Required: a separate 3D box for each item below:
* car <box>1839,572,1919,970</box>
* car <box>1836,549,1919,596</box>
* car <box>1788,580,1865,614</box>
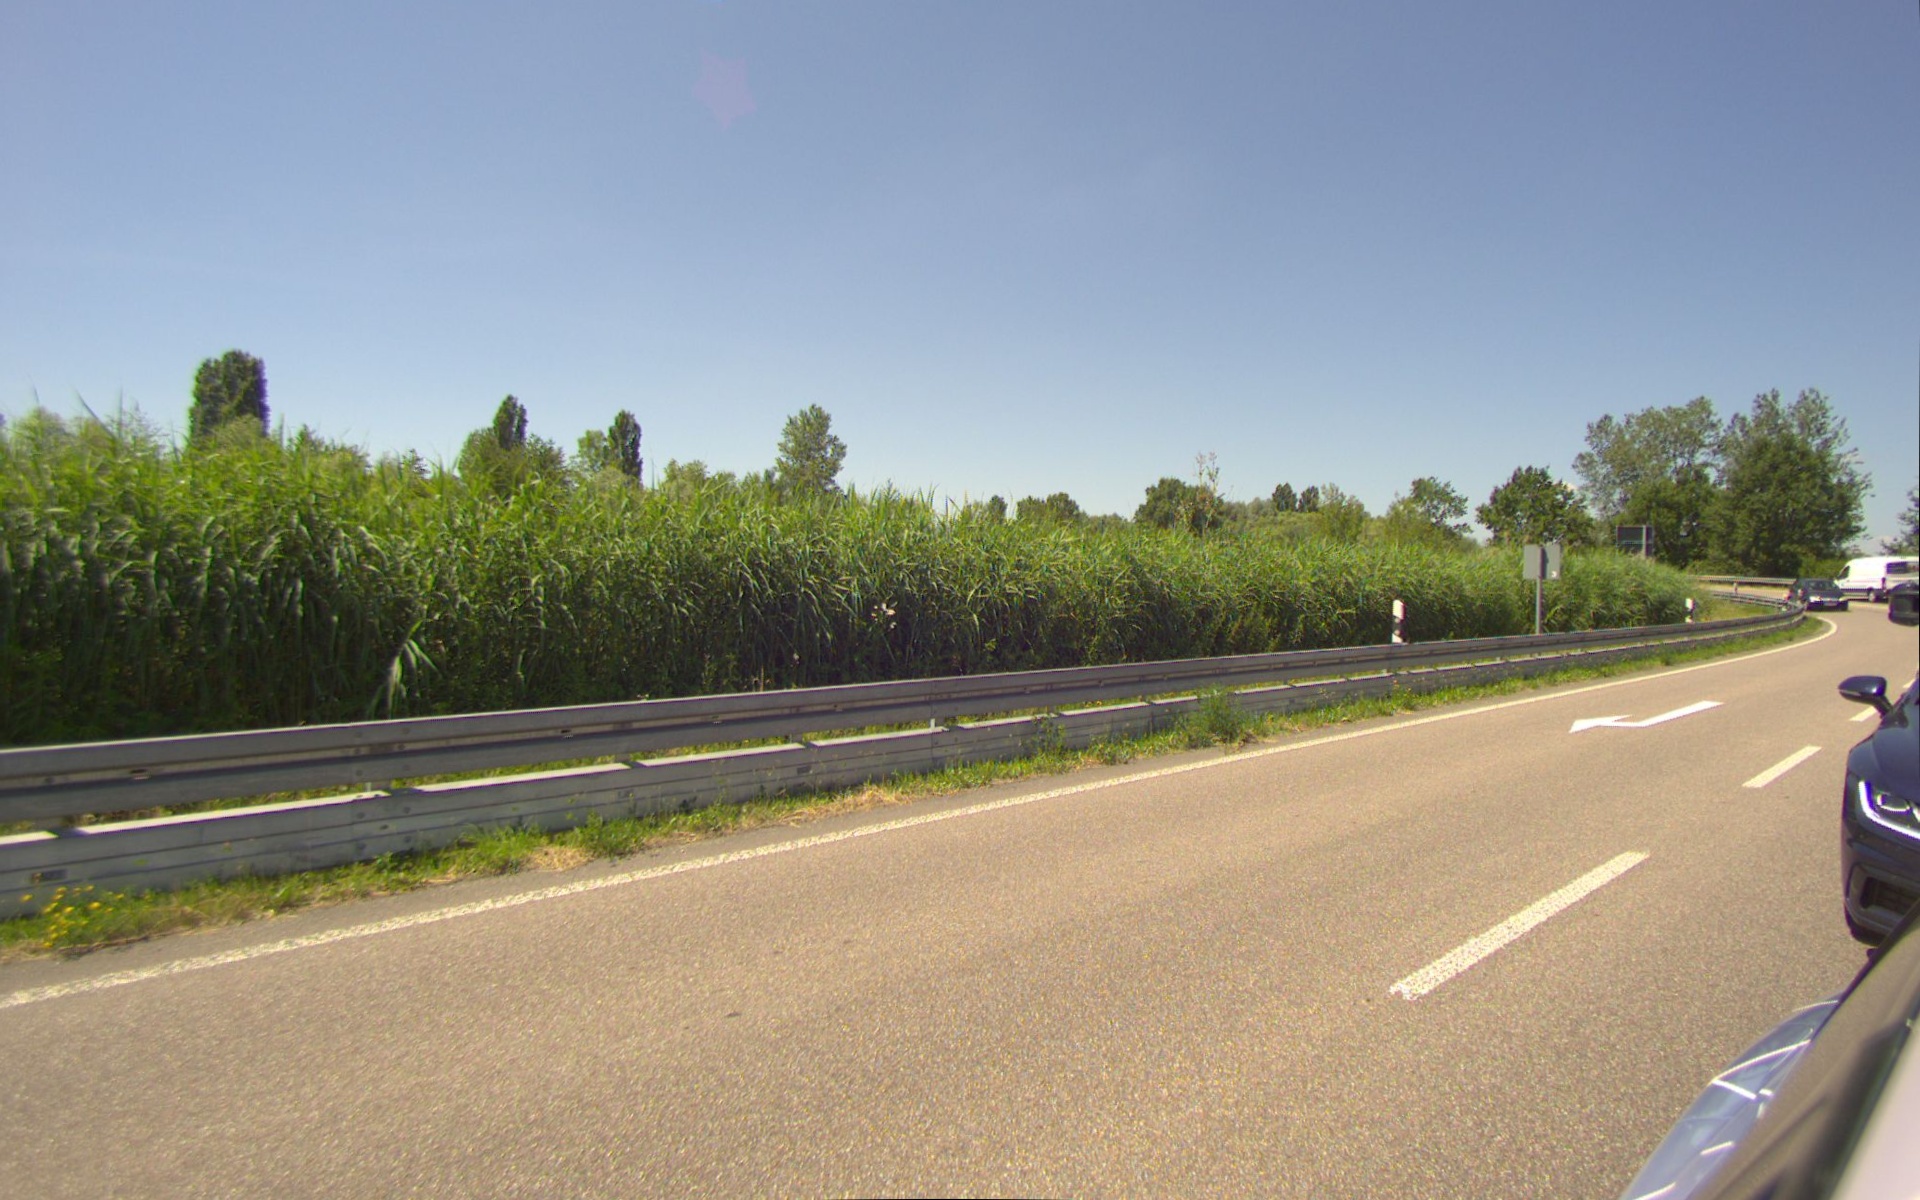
[{"bbox_3d":[5.646,0.623,4.667,4.338,1.481,1.818,-1,1,-41],"label":"car"},{"bbox_3d":[51.443,-1.511,56.064,1.970,2.446,5.569,1,2,13],"label":"car"},{"bbox_3d":[44.211,-0.190,51.698,1.650,1.620,3.535,0,1,17],"label":"car"}]
